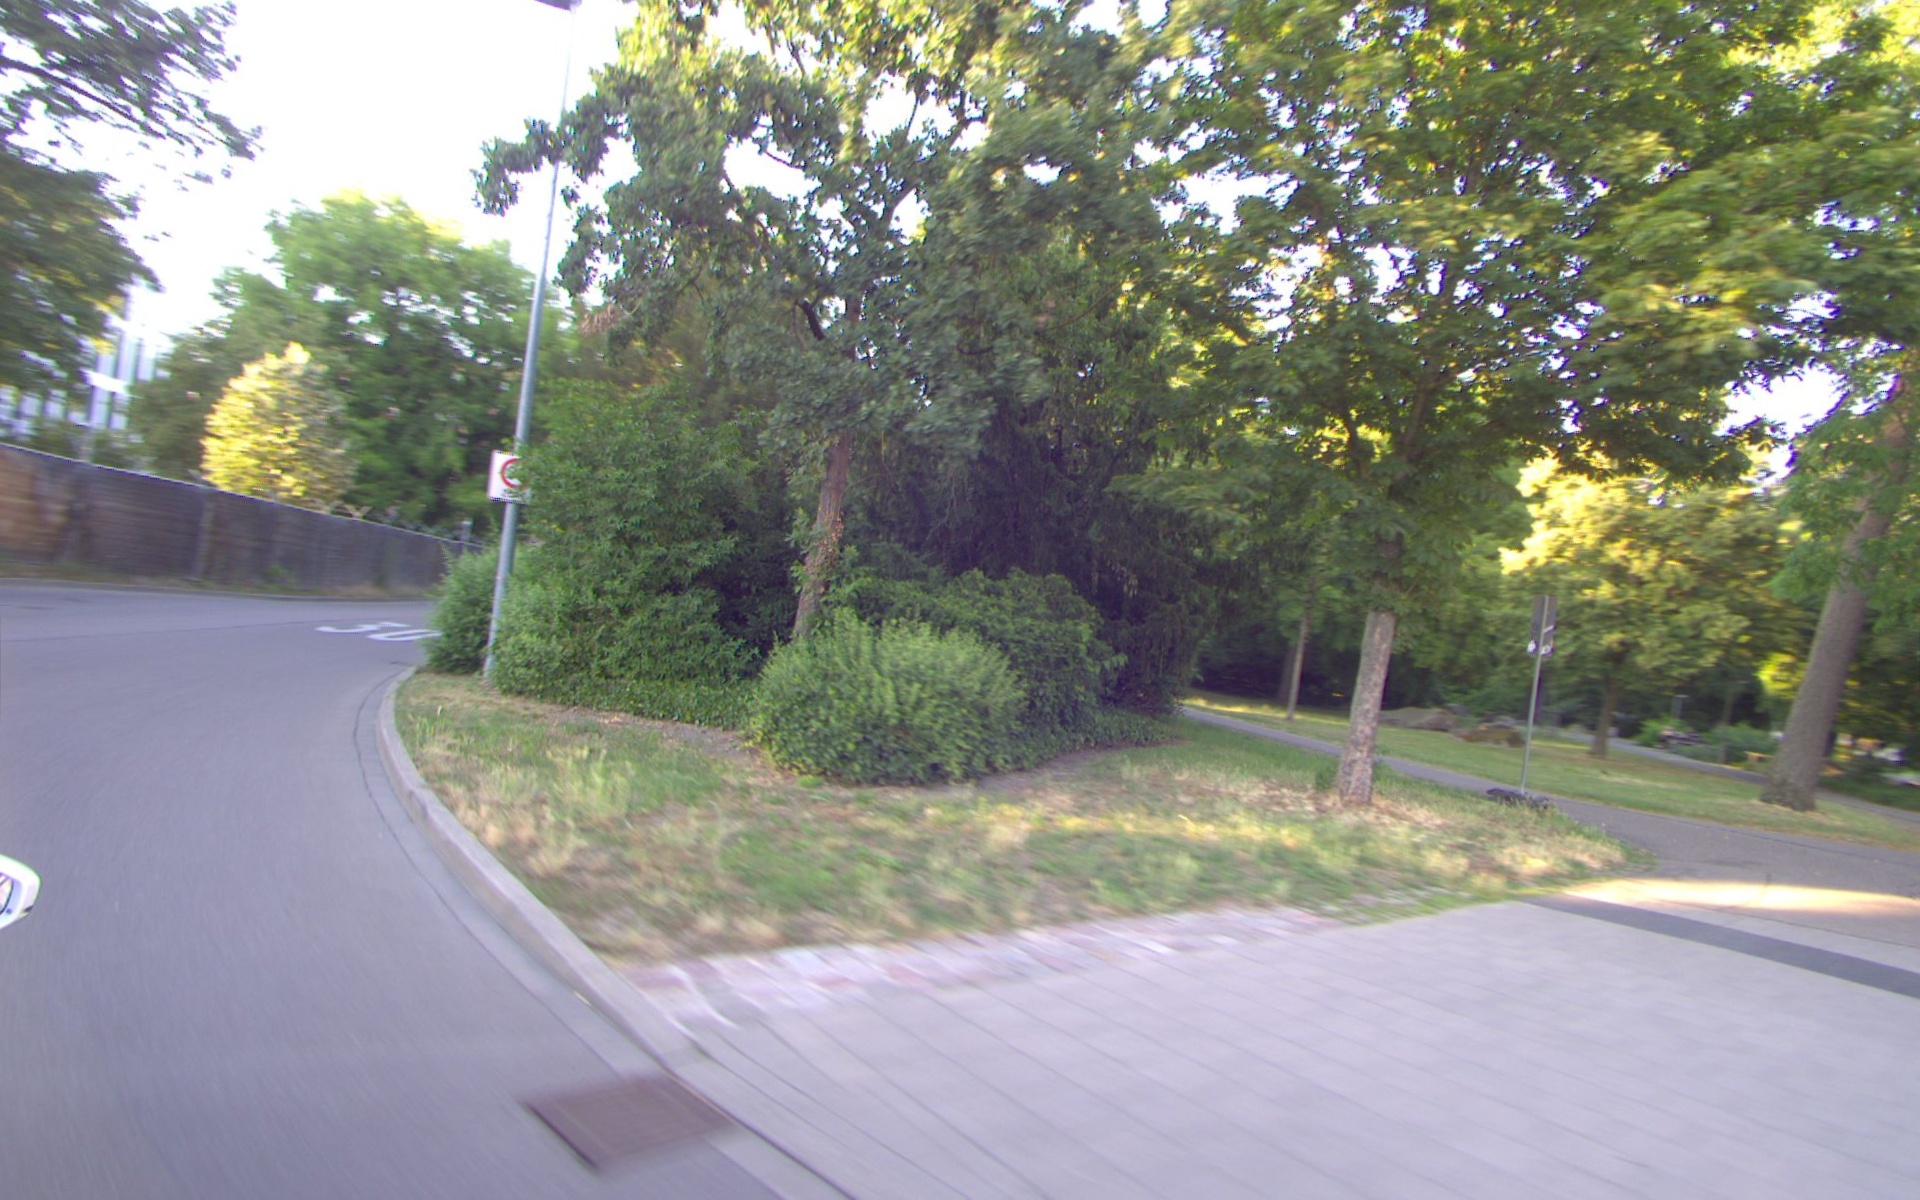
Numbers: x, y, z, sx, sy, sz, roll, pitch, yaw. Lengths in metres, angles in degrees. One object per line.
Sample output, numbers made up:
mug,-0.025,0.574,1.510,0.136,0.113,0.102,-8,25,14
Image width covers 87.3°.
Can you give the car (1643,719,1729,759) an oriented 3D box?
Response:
car,35.858,6.849,49.769,3.177,1.370,1.562,7,-1,29
